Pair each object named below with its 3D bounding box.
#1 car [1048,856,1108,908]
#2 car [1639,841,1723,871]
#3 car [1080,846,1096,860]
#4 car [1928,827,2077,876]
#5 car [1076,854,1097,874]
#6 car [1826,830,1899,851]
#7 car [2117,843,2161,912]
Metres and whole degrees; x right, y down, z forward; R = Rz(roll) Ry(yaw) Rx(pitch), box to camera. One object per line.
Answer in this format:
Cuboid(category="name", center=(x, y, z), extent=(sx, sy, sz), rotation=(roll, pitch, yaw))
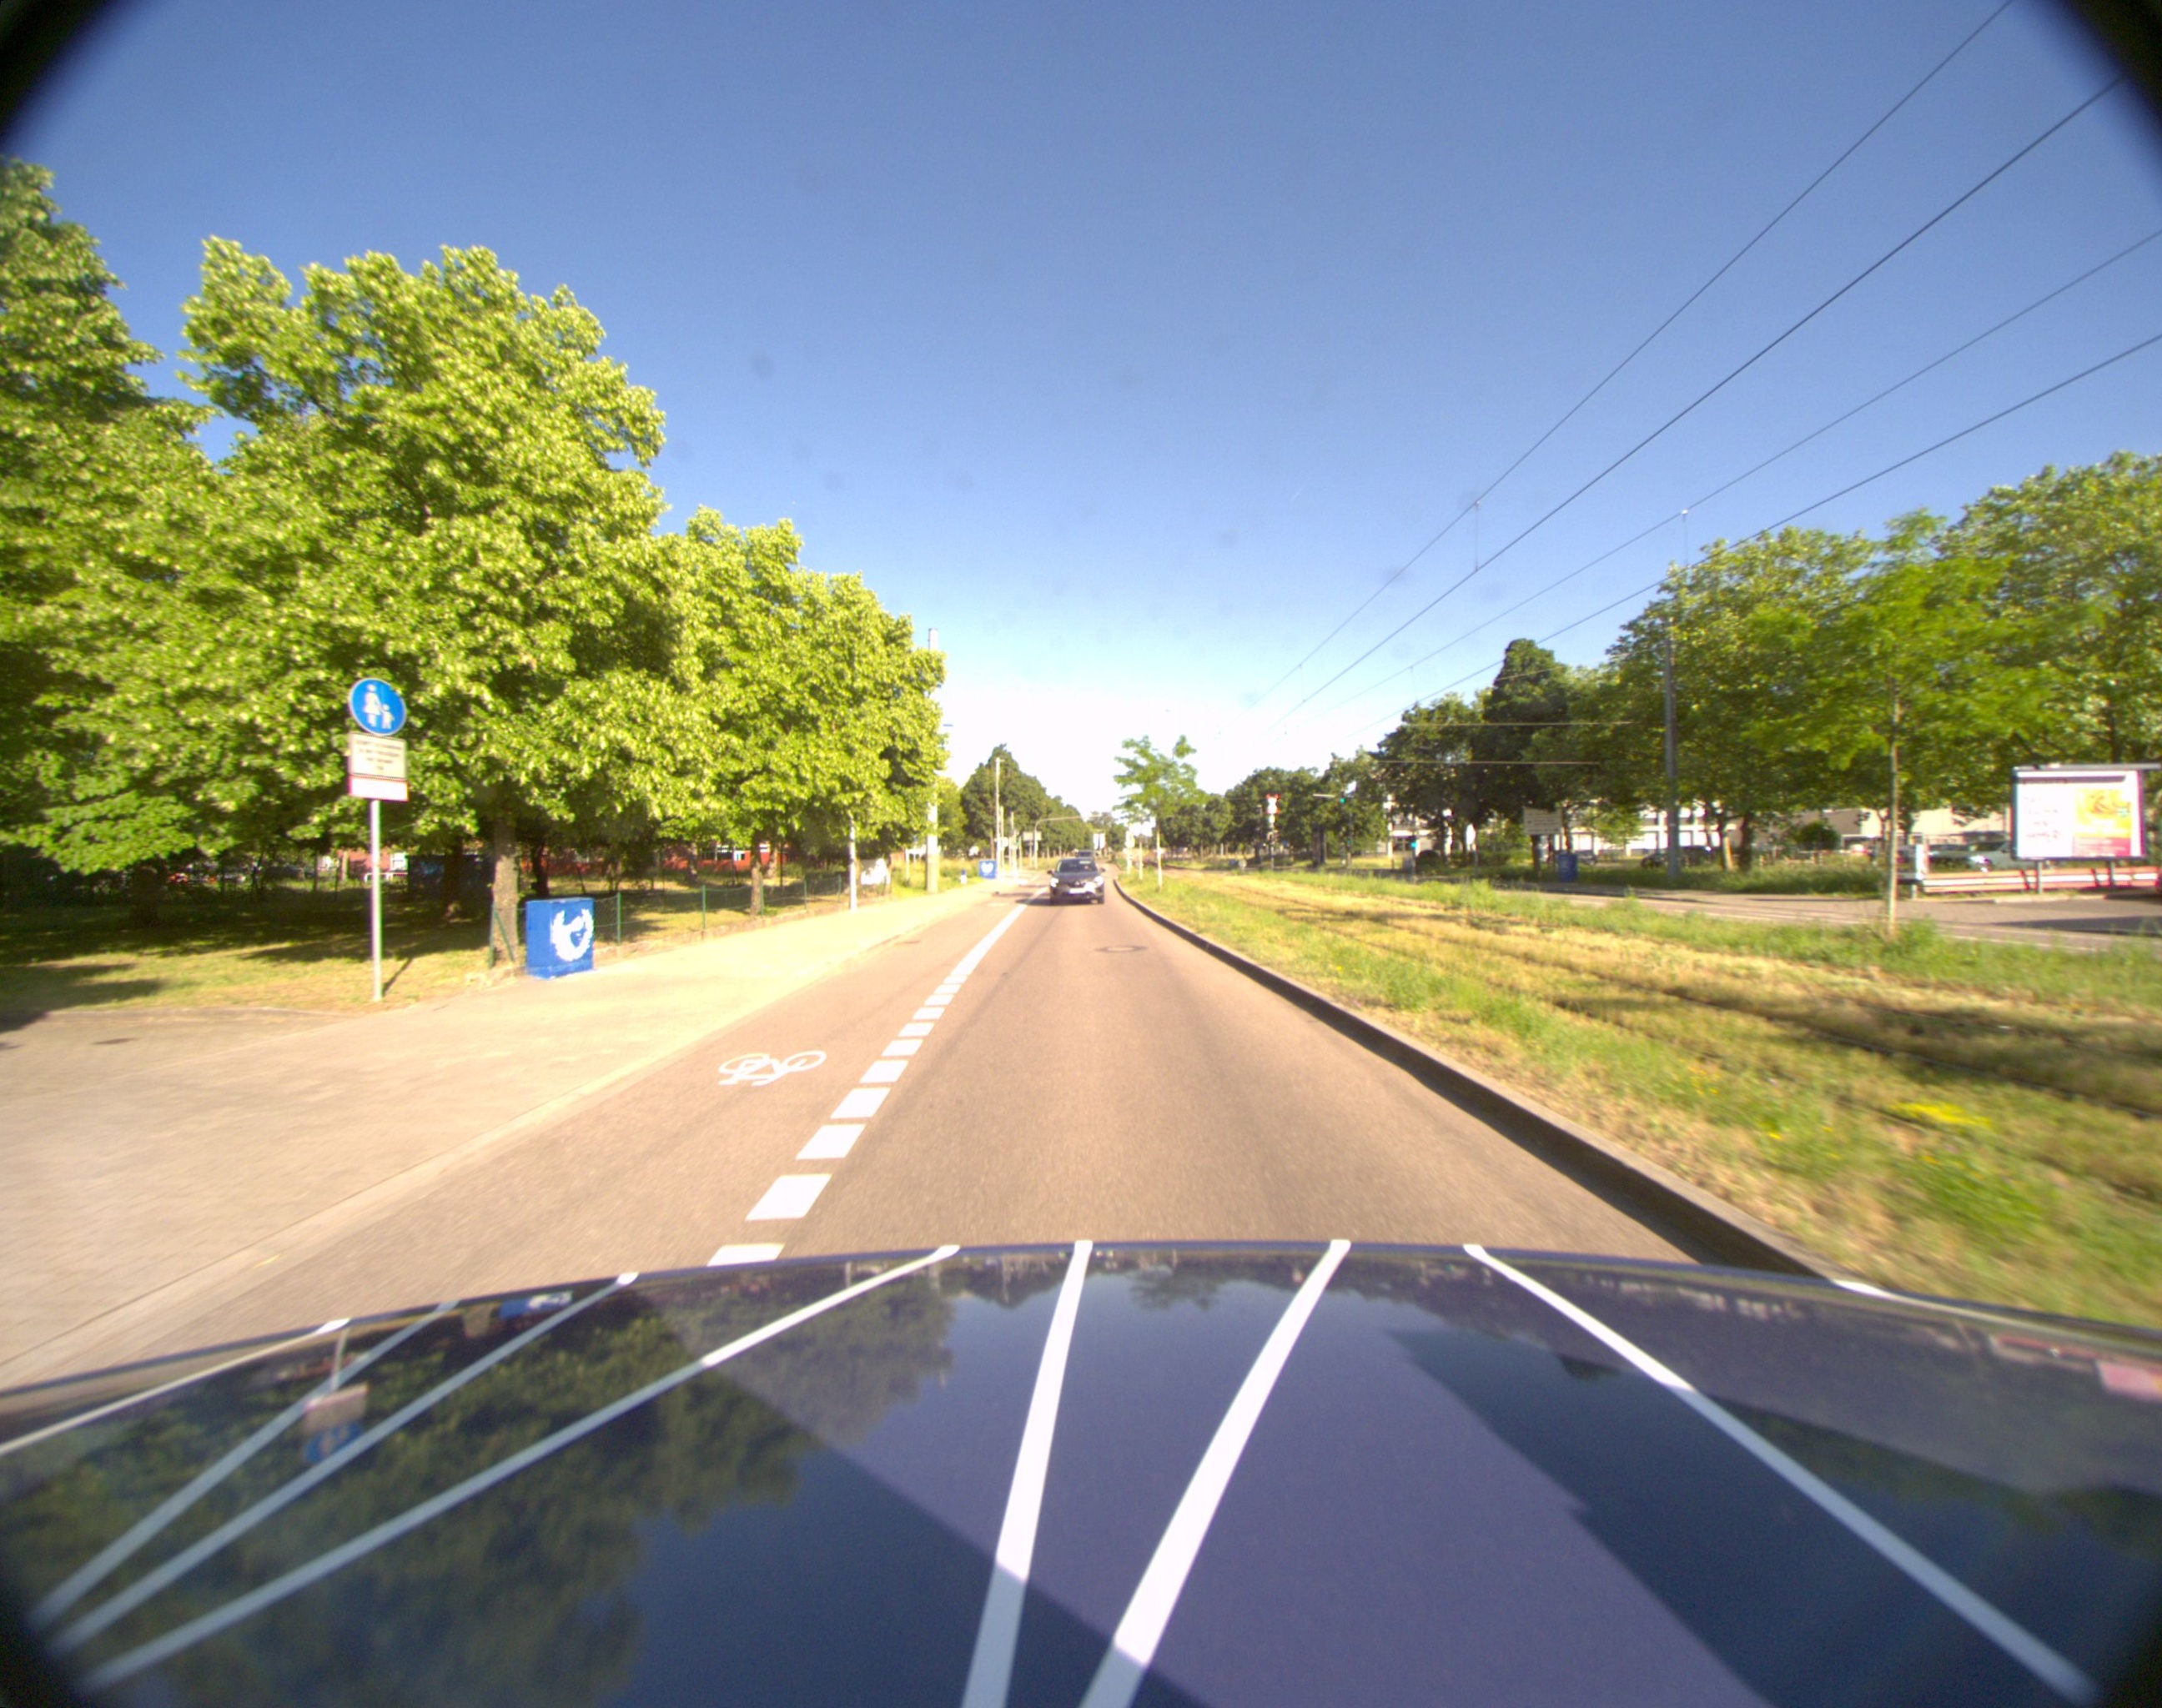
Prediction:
Cuboid(category="car", center=(-0.094, 0.913, 26.380), extent=(1.867, 1.614, 4.000), rotation=(-2, 0, 0))
Cuboid(category="car", center=(40.408, 0.148, 51.226), extent=(4.051, 1.816, 1.999), rotation=(-2, 1, -1))
Cuboid(category="car", center=(0.947, -0.139, 104.550), extent=(1.998, 1.824, 4.000), rotation=(-2, 1, 2))
Cuboid(category="car", center=(39.764, -0.118, 32.875), extent=(4.051, 1.851, 2.000), rotation=(-3, 0, -1))
Cuboid(category="car", center=(0.603, 1.026, 79.544), extent=(1.998, 1.824, 4.000), rotation=(-2, 1, 2))
Cuboid(category="car", center=(69.239, -1.176, 67.352), extent=(4.533, 1.637, 1.999), rotation=(-2, 1, -1))
Cuboid(category="car", center=(31.581, 0.561, 20.604), extent=(3.996, 1.846, 2.001), rotation=(-3, 0, 4))
